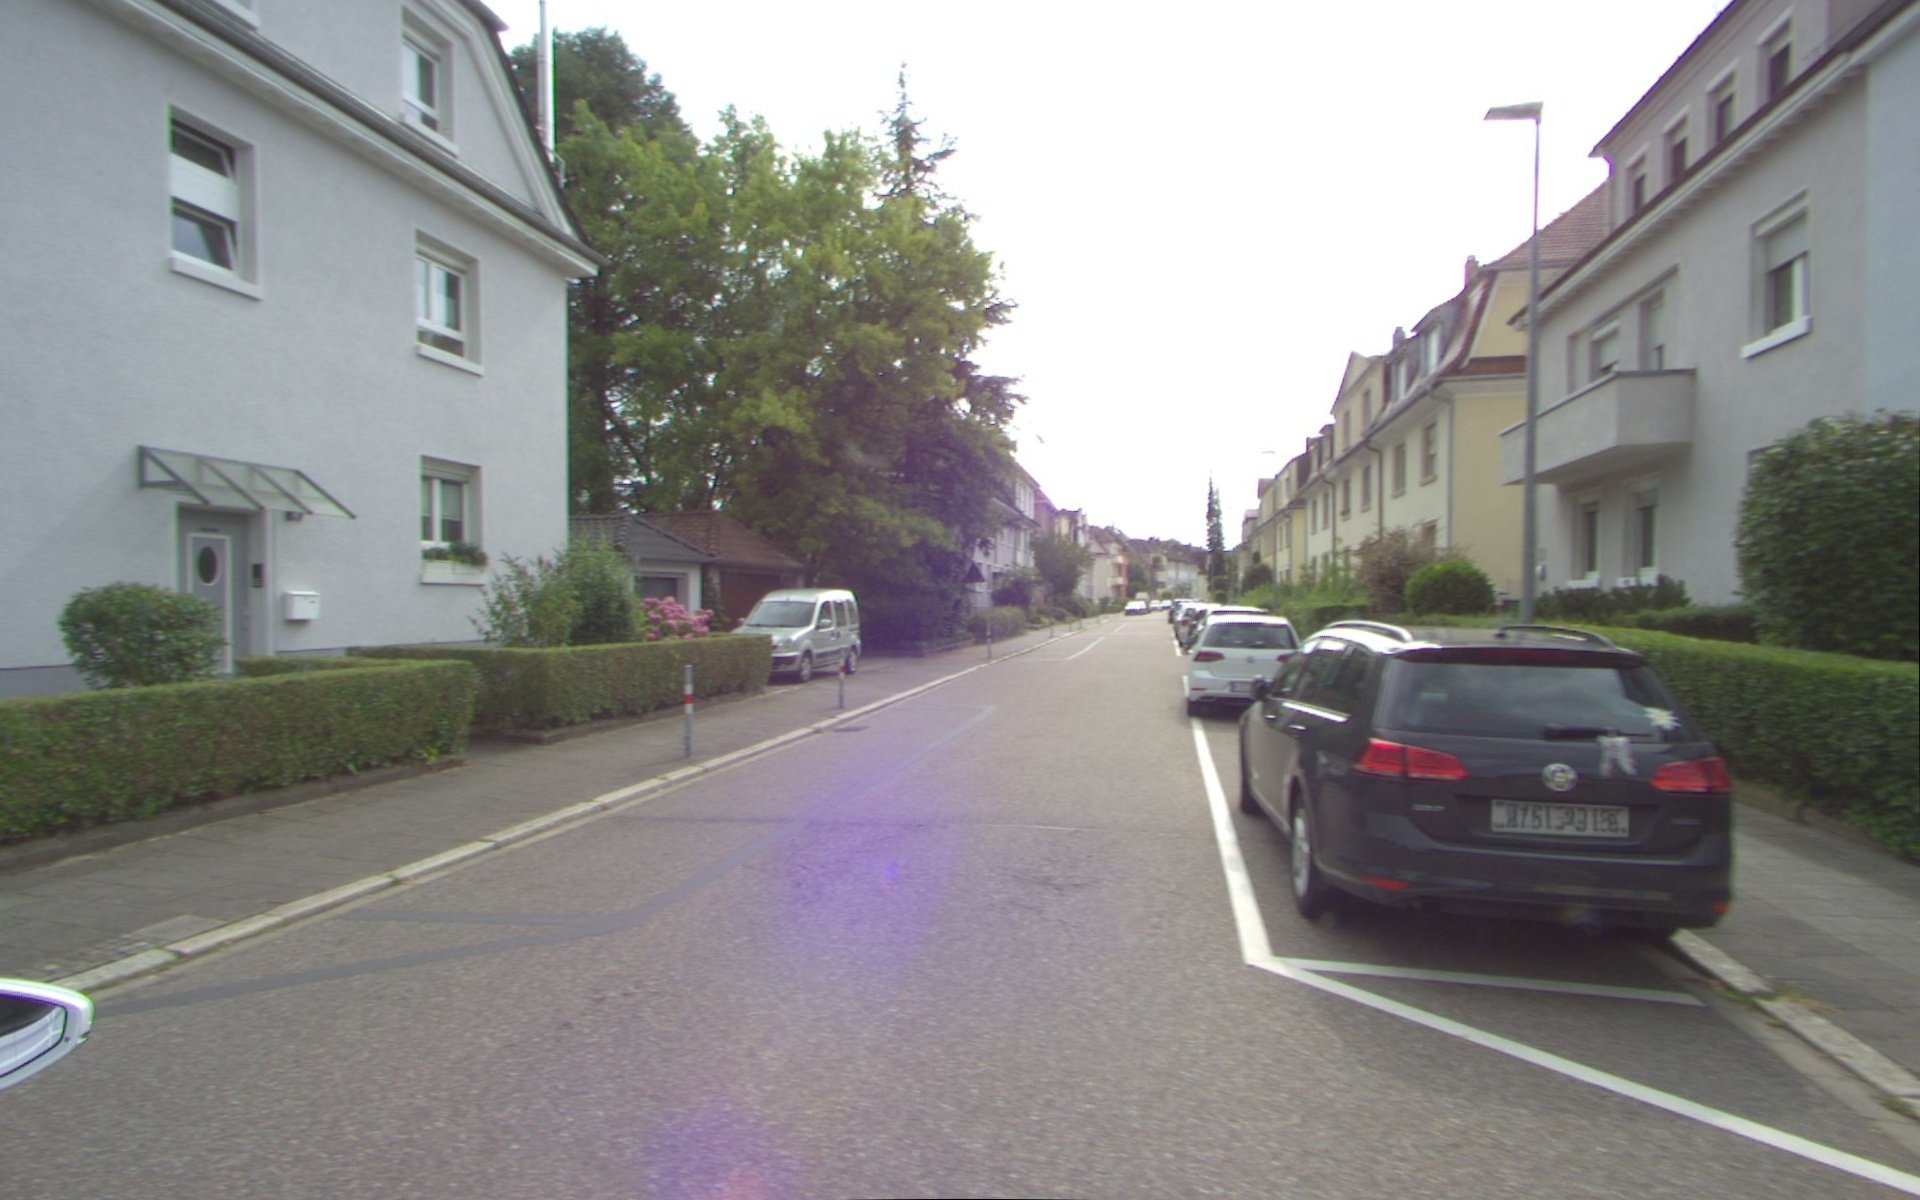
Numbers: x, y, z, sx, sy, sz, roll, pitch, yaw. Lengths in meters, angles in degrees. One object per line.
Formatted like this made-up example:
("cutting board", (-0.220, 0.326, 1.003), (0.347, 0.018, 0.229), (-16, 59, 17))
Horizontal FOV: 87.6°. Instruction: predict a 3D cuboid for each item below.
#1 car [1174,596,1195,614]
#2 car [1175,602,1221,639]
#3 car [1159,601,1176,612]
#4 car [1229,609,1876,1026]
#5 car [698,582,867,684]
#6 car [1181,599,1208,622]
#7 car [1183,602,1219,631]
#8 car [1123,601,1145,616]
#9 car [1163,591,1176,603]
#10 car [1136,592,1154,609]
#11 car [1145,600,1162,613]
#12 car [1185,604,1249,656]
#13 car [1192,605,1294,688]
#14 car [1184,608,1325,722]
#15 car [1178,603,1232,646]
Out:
("car", (20.023, 0.413, 89.508), (1.825, 1.599, 4.171), (0, 0, 12))
("car", (10.193, 0.837, 42.974), (1.825, 1.491, 4.171), (0, 0, 13))
("car", (31.435, 0.983, 151.752), (1.966, 1.556, 3.990), (-2, 0, 21))
("car", (2.764, 0.823, 5.882), (1.824, 1.491, 4.173), (0, 0, 9))
("car", (-3.459, 0.597, 20.334), (1.963, 1.862, 3.996), (0, 0, 14))
("car", (16.670, 0.700, 71.189), (1.825, 1.599, 4.171), (0, 0, 13))
("car", (12.929, 0.854, 53.797), (1.825, 1.491, 4.171), (0, 0, 13))
("car", (19.271, 0.935, 110.674), (1.963, 1.662, 3.995), (0, 0, 15))
("car", (37.896, -0.591, 181.033), (1.963, 2.152, 3.994), (0, 0, 15))
("car", (22.573, 0.017, 121.976), (1.963, 2.040, 3.995), (0, 0, 14))
("car", (26.823, 0.877, 138.620), (1.963, 1.662, 3.995), (0, 0, 15))
("car", (8.127, 0.899, 31.873), (1.825, 1.491, 4.171), (0, 0, 13))
("car", (5.728, 0.867, 20.671), (1.825, 1.491, 4.171), (0, 0, 13))
("car", (4.446, 0.882, 15.582), (1.825, 1.491, 4.171), (0, 0, 13))
("car", (9.064, 0.858, 37.132), (1.825, 1.491, 4.171), (0, 0, 13))
